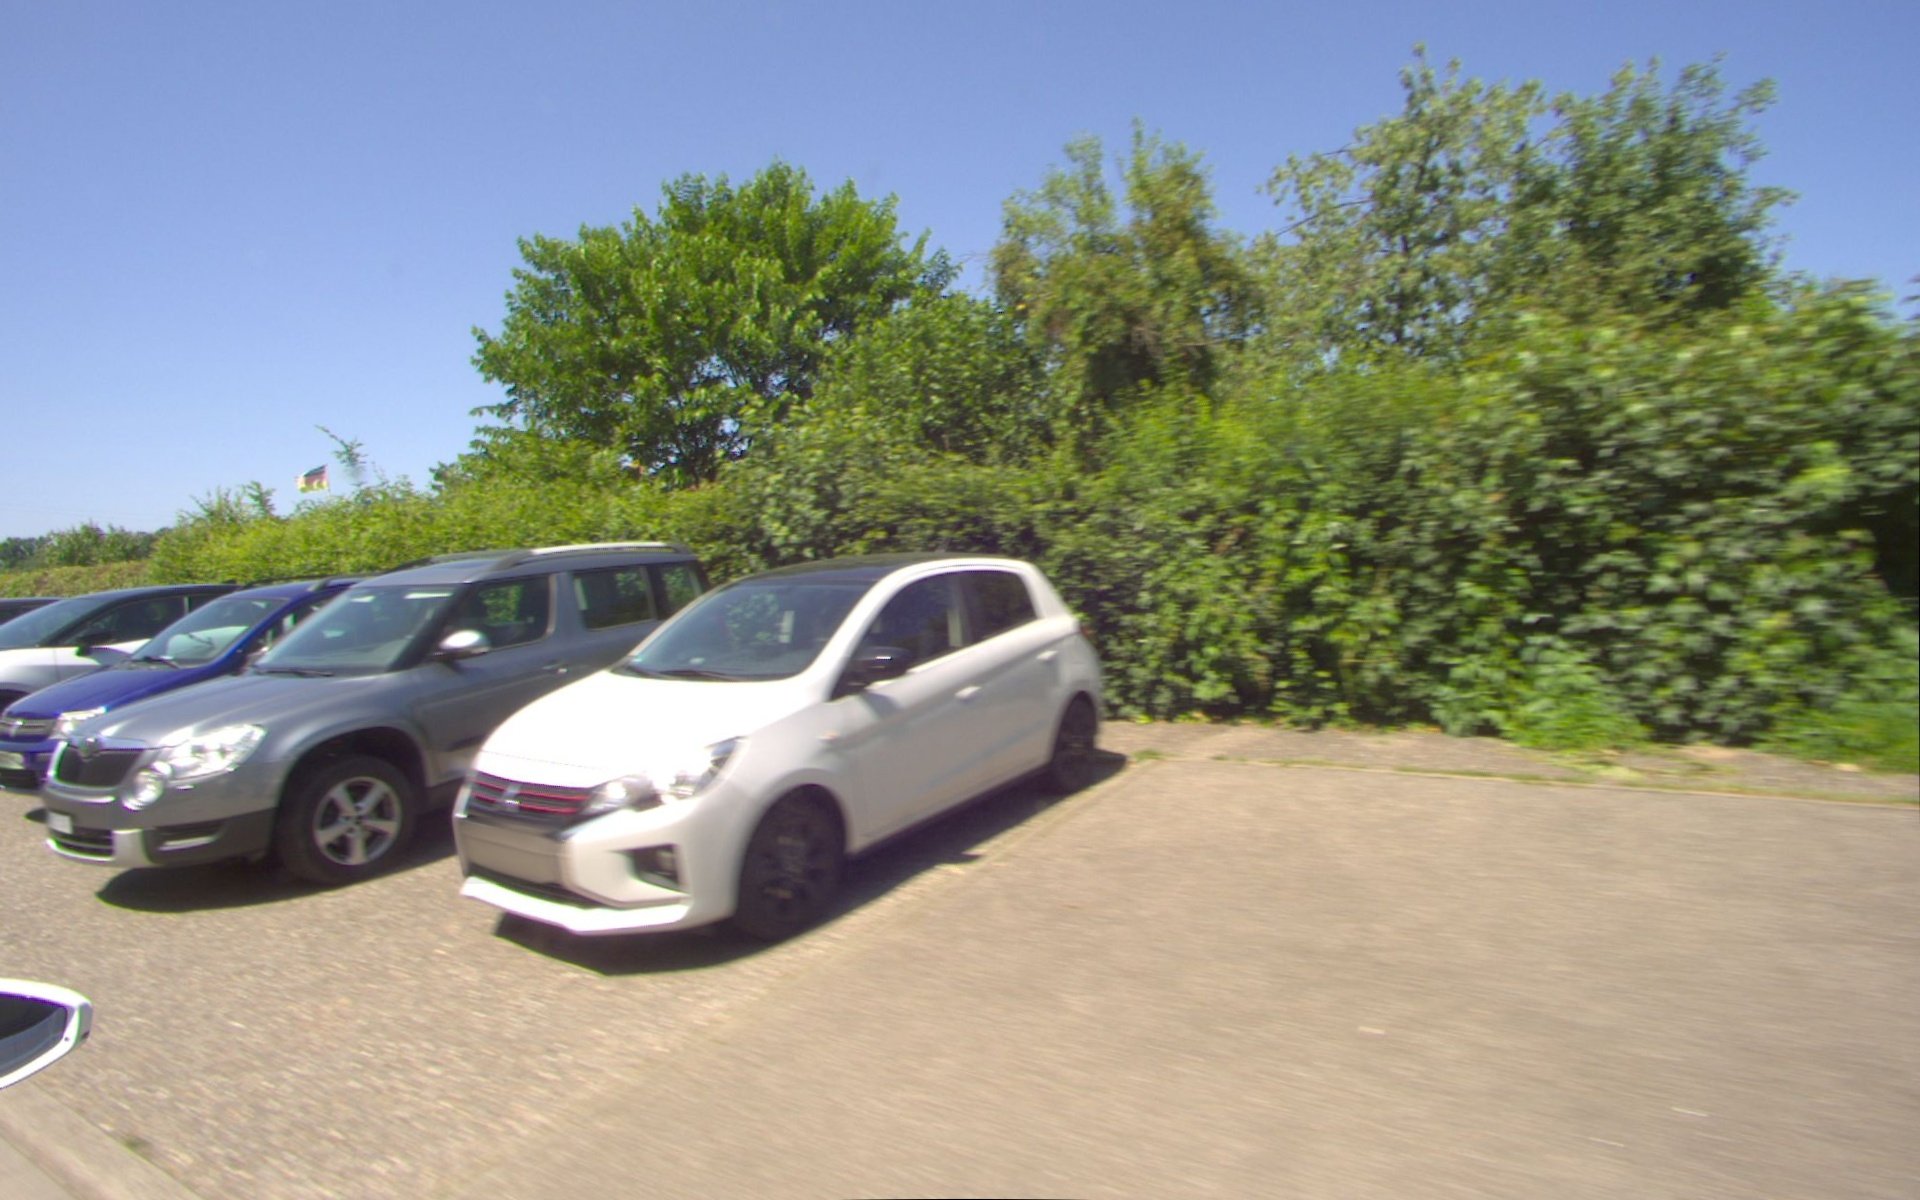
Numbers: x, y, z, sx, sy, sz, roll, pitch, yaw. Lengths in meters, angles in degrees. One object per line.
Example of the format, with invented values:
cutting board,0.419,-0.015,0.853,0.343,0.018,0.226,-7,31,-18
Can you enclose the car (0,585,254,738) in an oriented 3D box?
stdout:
car,-10.533,0.676,11.663,1.566,1.525,3.375,0,4,35

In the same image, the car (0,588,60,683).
car,-18.156,0.741,16.708,1.739,1.600,4.267,-1,3,29

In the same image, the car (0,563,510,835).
car,-5.704,0.585,8.158,1.515,1.549,3.447,-1,5,26

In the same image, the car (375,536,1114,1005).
car,-0.737,0.492,5.314,1.588,1.471,3.675,0,5,35

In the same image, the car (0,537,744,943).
car,-3.338,0.517,6.440,1.637,1.664,3.954,-1,5,26

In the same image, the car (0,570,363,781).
car,-8.201,0.631,9.463,1.834,1.545,3.957,-1,4,26
